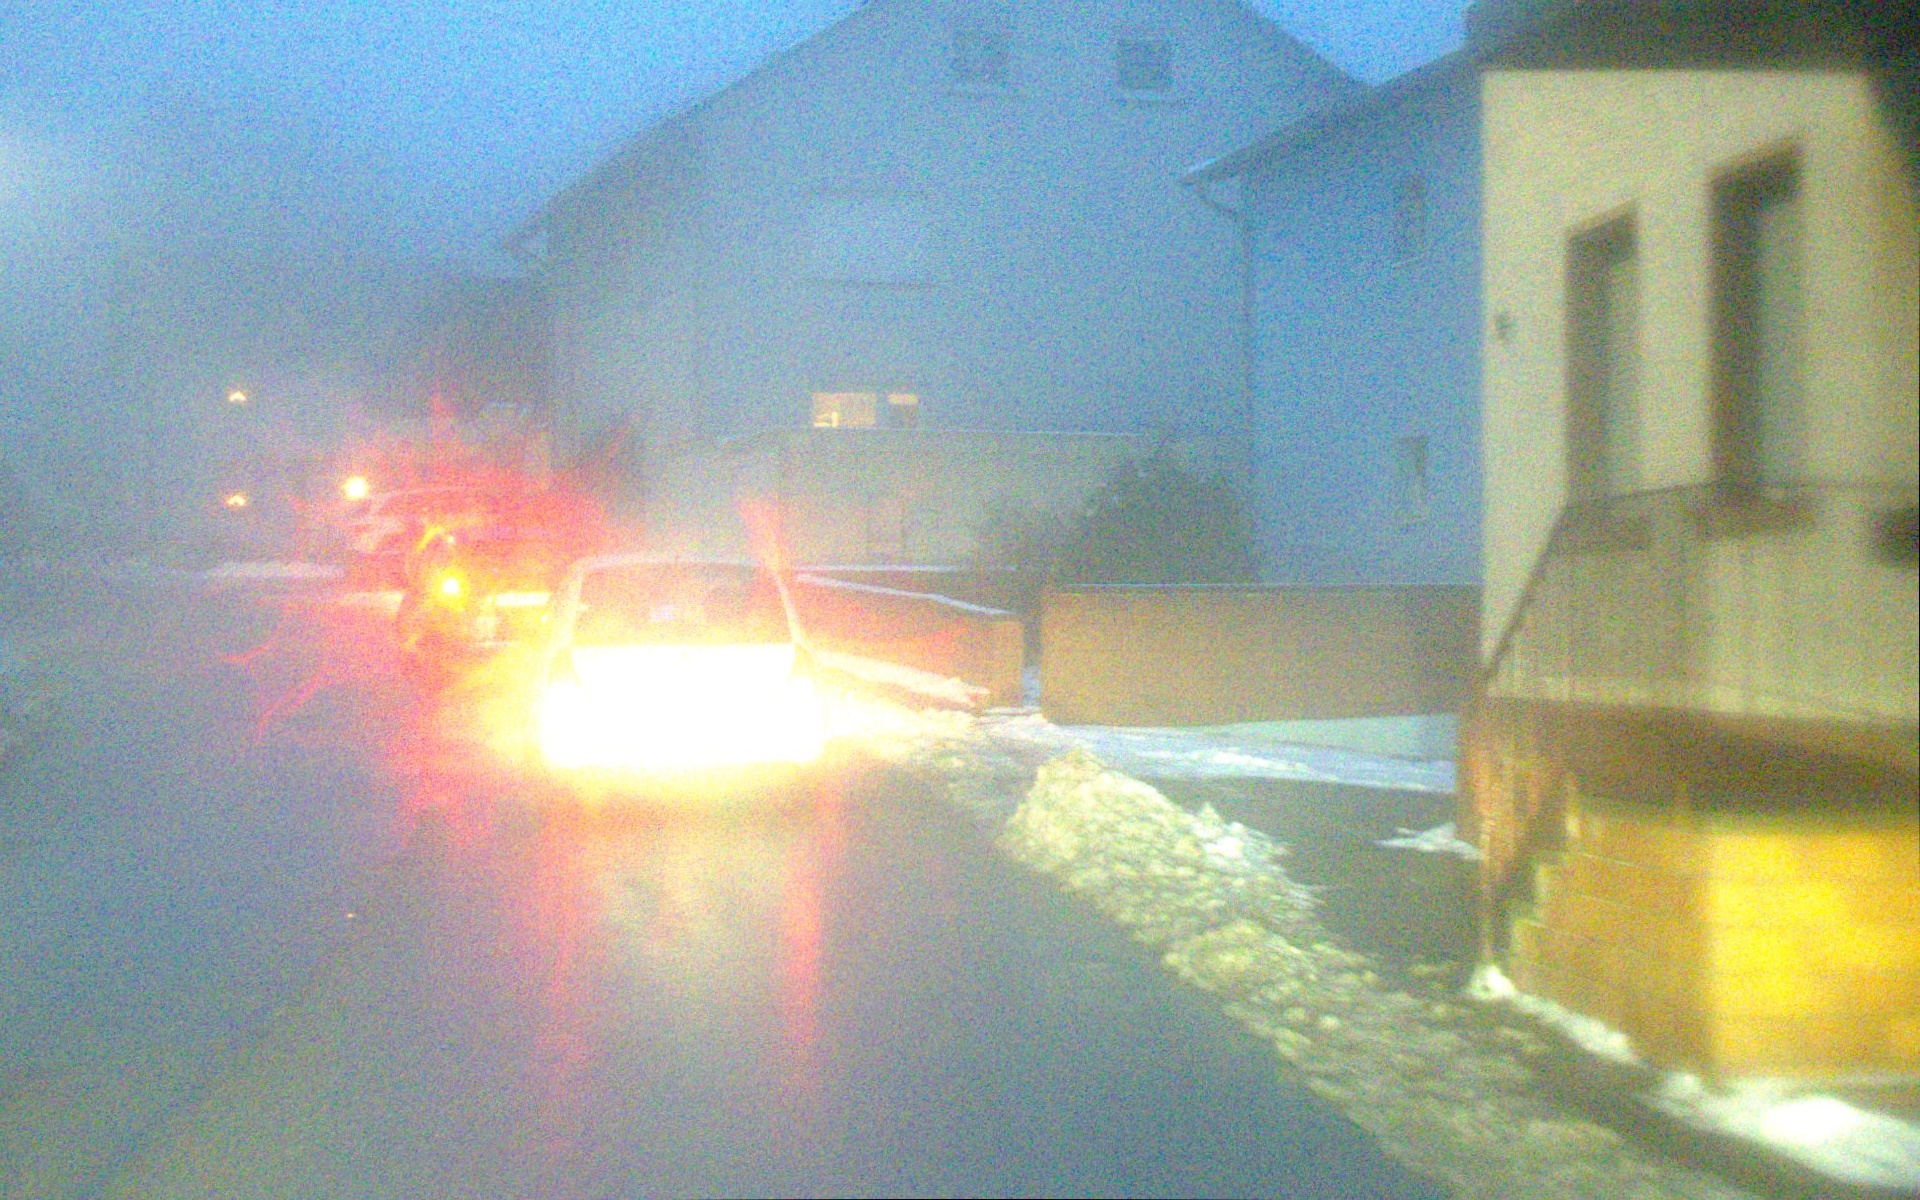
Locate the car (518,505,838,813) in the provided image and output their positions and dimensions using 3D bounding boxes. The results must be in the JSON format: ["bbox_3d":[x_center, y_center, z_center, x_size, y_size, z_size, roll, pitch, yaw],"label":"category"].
[{"bbox_3d":[-1.559,0.329,19.875,1.645,1.590,3.700,1,-1,-3],"label":"car"}]

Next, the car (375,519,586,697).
[{"bbox_3d":[-4.677,0.088,33.210,1.645,1.590,3.700,1,-1,-13],"label":"car"}]
